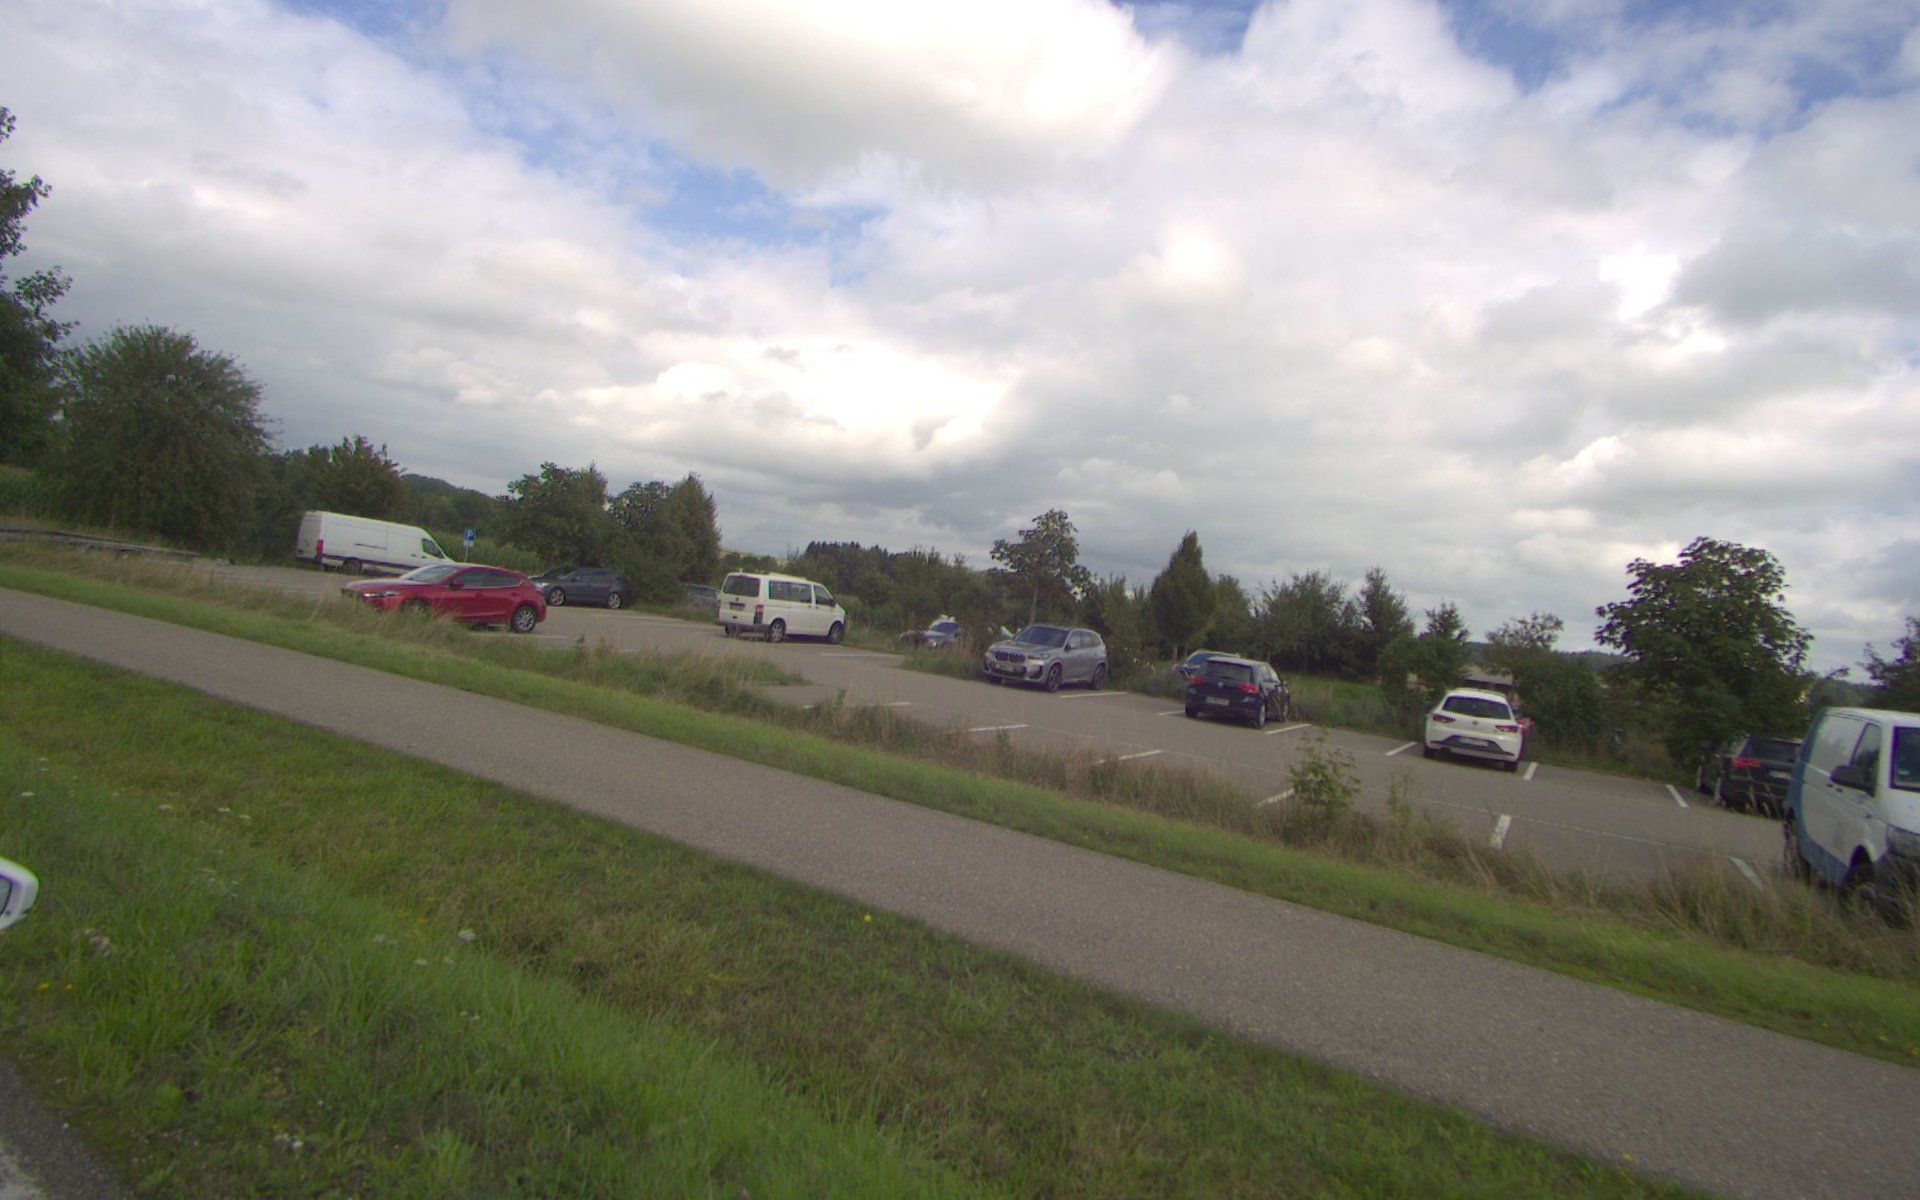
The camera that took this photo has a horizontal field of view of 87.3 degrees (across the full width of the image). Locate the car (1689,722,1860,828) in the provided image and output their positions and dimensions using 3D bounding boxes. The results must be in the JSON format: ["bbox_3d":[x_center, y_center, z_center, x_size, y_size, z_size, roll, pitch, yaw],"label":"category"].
[{"bbox_3d":[14.922,3.140,18.649,1.700,1.407,3.695,7,-1,29],"label":"car"}]

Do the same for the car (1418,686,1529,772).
[{"bbox_3d":[10.743,2.634,21.262,1.728,1.407,3.699,7,-1,24],"label":"car"}]

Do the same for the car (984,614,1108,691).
[{"bbox_3d":[2.291,1.395,25.863,1.729,1.626,3.697,7,-1,28],"label":"car"}]

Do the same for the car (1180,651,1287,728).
[{"bbox_3d":[6.472,2.072,23.508,1.728,1.407,3.699,7,-1,24],"label":"car"}]

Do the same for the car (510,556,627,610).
[{"bbox_3d":[-14.272,-0.603,36.839,1.678,1.456,3.632,7,-1,31],"label":"car"}]

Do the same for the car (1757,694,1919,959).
[{"bbox_3d":[9.273,2.023,9.361,1.921,1.997,4.957,7,-1,29],"label":"car"}]

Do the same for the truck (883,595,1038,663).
[{"bbox_3d":[0.033,1.362,46.668,6.273,2.244,3.137,7,-1,26],"label":"truck"}]

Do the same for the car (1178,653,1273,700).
[{"bbox_3d":[8.634,2.499,32.455,1.966,1.181,3.996,7,-1,29],"label":"car"}]

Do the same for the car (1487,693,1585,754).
[{"bbox_3d":[14.995,3.173,26.355,1.966,1.181,3.996,7,-1,29],"label":"car"}]

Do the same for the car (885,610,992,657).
[{"bbox_3d":[-0.689,1.210,35.366,1.966,1.181,3.996,7,-1,29],"label":"car"}]

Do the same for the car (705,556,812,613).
[{"bbox_3d":[-7.624,-0.540,38.427,1.963,1.615,4.001,7,-1,23],"label":"car"}]

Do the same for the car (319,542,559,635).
[{"bbox_3d":[-11.481,-0.181,22.507,1.937,1.595,4.337,7,0,29],"label":"car"}]

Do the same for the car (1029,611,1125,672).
[{"bbox_3d":[3.908,1.412,33.050,1.963,1.615,4.001,7,-1,23],"label":"car"}]

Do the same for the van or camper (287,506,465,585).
[{"bbox_3d":[-26.788,-2.447,46.503,2.015,2.592,6.752,7,-1,33],"label":"van or camper"}]

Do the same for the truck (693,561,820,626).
[{"bbox_3d":[-11.226,-0.281,56.185,2.784,2.747,6.892,7,-1,31],"label":"truck"}]

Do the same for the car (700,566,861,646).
[{"bbox_3d":[-5.555,0.262,31.926,2.193,2.025,5.034,7,0,28],"label":"car"}]
